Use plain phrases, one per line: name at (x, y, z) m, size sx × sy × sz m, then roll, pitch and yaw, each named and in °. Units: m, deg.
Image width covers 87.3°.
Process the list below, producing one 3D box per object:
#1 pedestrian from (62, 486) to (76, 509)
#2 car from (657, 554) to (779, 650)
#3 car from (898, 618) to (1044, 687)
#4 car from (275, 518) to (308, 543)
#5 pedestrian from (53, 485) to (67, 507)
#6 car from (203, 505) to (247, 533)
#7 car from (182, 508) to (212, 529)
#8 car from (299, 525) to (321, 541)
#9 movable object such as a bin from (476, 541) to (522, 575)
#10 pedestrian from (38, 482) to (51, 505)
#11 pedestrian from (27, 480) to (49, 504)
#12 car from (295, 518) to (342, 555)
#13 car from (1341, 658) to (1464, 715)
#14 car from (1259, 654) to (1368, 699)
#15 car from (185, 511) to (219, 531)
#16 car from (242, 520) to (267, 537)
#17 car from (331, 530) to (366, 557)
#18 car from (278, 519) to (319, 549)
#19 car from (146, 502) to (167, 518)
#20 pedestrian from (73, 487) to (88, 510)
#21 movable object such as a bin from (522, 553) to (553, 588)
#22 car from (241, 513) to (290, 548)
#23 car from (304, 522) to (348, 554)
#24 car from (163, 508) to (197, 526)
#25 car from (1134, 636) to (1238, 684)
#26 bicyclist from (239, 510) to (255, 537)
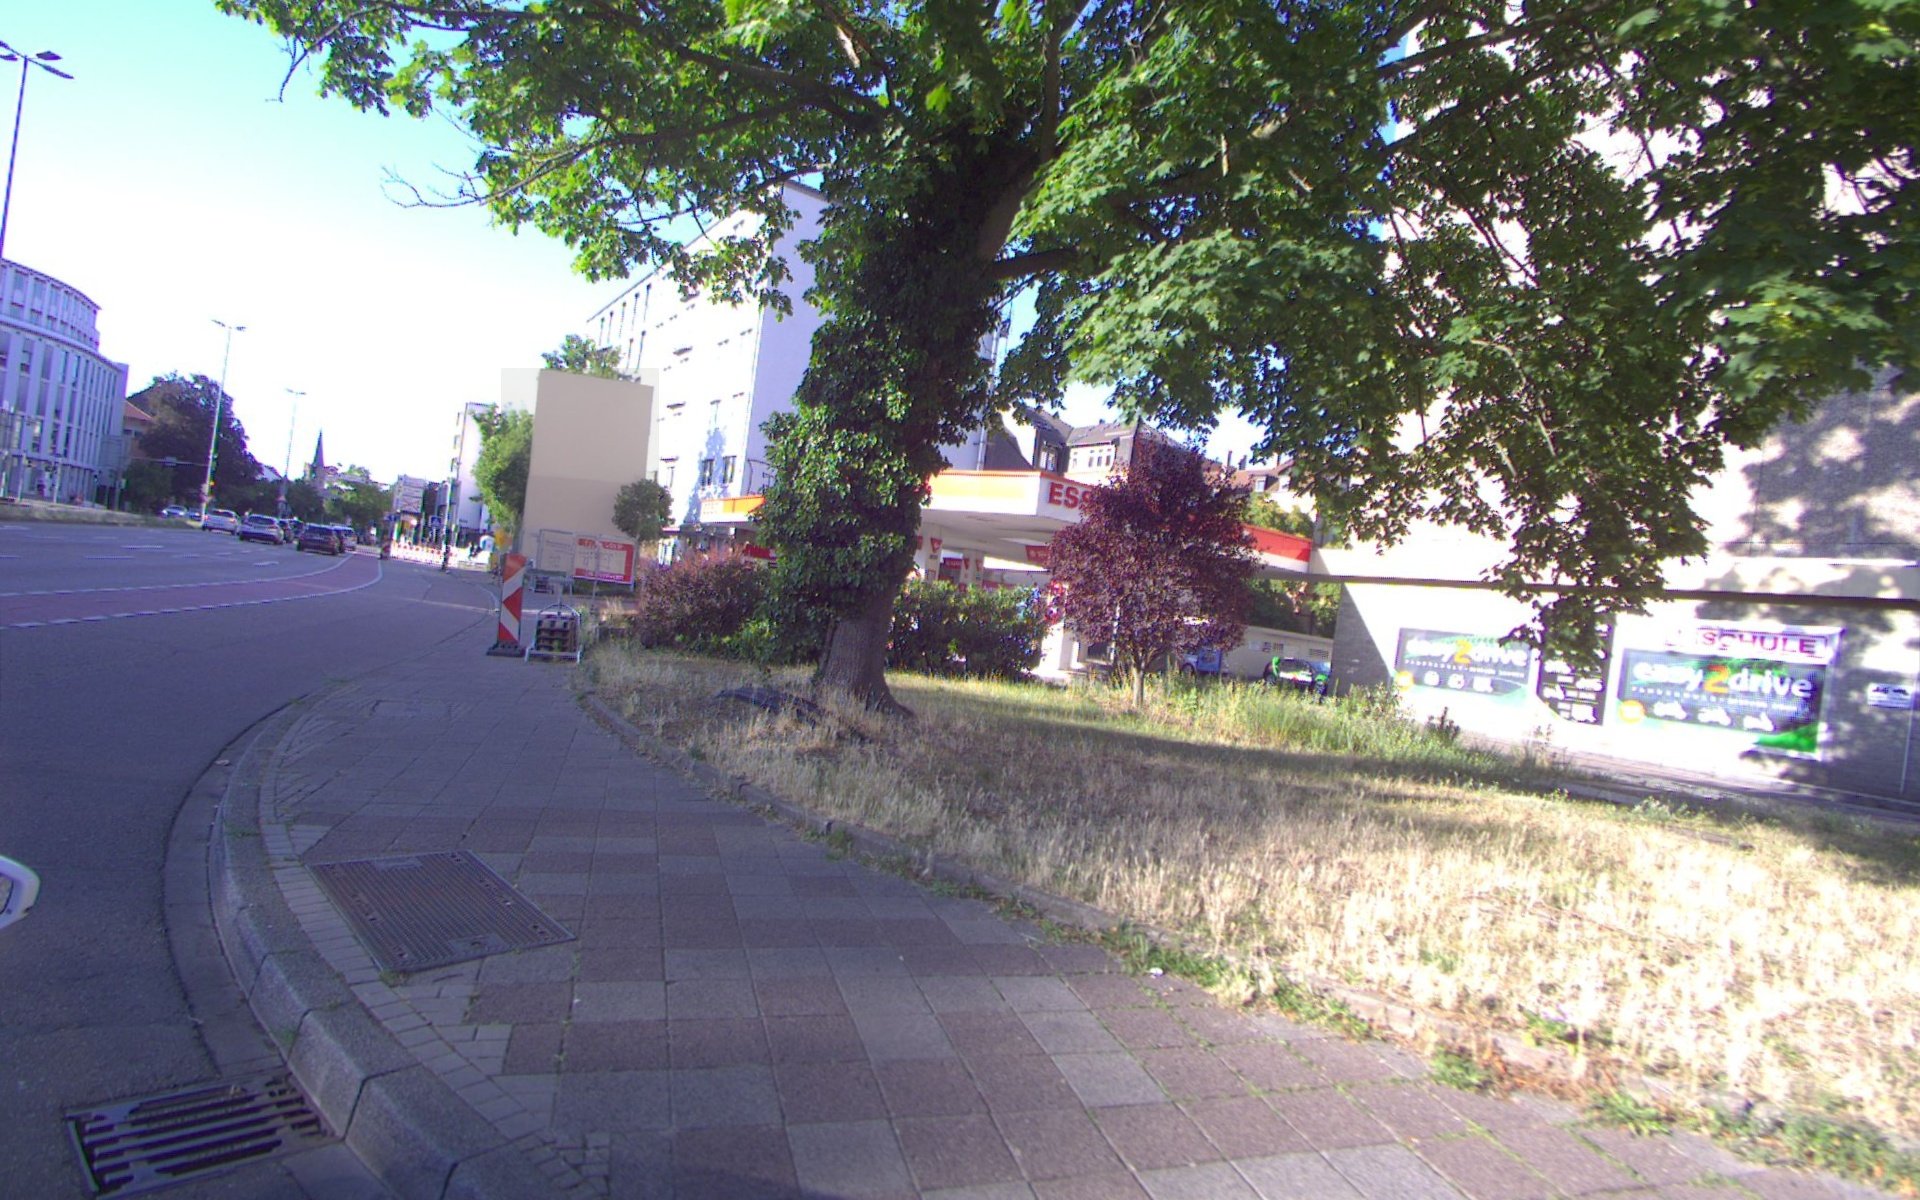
pedestrian at (-78.522, -9.034, 88.634) m, size 0.655 × 1.891 × 0.772 m, roll 7°, pitch 0°, yaw -33°
car at (-5.070, -0.017, 20.672) m, size 1.604 × 1.613 × 3.872 m, roll 8°, pitch -1°, yaw -24°
car at (0.292, 1.556, 30.295) m, size 3.942 × 1.371 × 1.992 m, roll 9°, pitch 1°, yaw 41°
car at (-49.865, -5.162, 75.108) m, size 1.669 × 1.522 × 3.694 m, roll 8°, pitch -1°, yaw -30°
pedestrian at (-79.438, -9.182, 88.765) m, size 0.755 × 1.864 × 0.809 m, roll 7°, pitch 0°, yaw -41°
car at (-47.329, -5.162, 64.840) m, size 1.673 × 1.474 × 3.968 m, roll 9°, pitch -1°, yaw -30°
car at (-82.534, -8.806, 108.892) m, size 1.825 × 1.837 × 3.974 m, roll 6°, pitch -2°, yaw -28°
car at (-68.303, -7.002, 105.691) m, size 1.577 × 1.444 × 3.793 m, roll 8°, pitch -1°, yaw -30°
movable object such as a bin at (-40.253, -3.662, 87.889) m, size 3.306 × 2.411 × 1.516 m, roll 8°, pitch 0°, yaw -32°
pedestrian at (-80.265, -9.315, 88.181) m, size 0.658 × 1.881 × 0.769 m, roll 7°, pitch 0°, yaw -43°
pedestrian at (-87.297, -10.192, 95.269) m, size 1.080 × 2.038 × 1.030 m, roll 7°, pitch 0°, yaw -20°
car at (-33.234, -3.292, 52.219) m, size 1.735 × 1.583 × 4.018 m, roll 8°, pitch -1°, yaw -30°
car at (15.481, 3.039, 35.171) m, size 3.962 × 1.466 × 1.982 m, roll 8°, pitch -1°, yaw -33°
car at (15.375, 3.313, 43.944) m, size 1.733 × 1.312 × 4.220 m, roll 8°, pitch -1°, yaw -31°
car at (-73.903, -7.649, 98.166) m, size 1.980 × 1.597 × 4.858 m, roll 8°, pitch -1°, yaw -31°
car at (-74.551, -7.559, 106.328) m, size 1.836 × 1.479 × 4.013 m, roll 8°, pitch -1°, yaw -33°
car at (-43.796, -4.047, 72.106) m, size 1.714 × 1.598 × 3.696 m, roll 8°, pitch -1°, yaw -28°
car at (-41.459, -4.113, 63.104) m, size 1.735 × 1.583 × 4.018 m, roll 8°, pitch -1°, yaw -30°
car at (-97.408, -10.905, 121.980) m, size 1.832 × 1.590 × 3.958 m, roll 8°, pitch -1°, yaw -38°
pedestrian at (-77.837, -8.987, 89.043) m, size 0.621 × 1.891 × 1.119 m, roll 7°, pitch 0°, yaw -28°
movable object such as a bin at (-20.299, -1.405, 48.320) m, size 1.085 × 1.525 × 1.245 m, roll 8°, pitch -3°, yaw -31°
car at (-38.171, -3.816, 55.390) m, size 1.735 × 1.583 × 4.018 m, roll 8°, pitch -1°, yaw -30°
car at (-36.898, -3.593, 58.619) m, size 1.741 × 1.507 × 3.698 m, roll 6°, pitch -2°, yaw -28°
car at (-78.046, -8.282, 100.751) m, size 1.978 × 1.430 × 4.409 m, roll 7°, pitch 0°, yaw -30°
car at (9.544, 2.523, 42.788) m, size 1.733 × 1.437 × 4.220 m, roll 8°, pitch -1°, yaw -31°
bicyclist at (-49.375, -5.274, 69.670) m, size 0.686 × 1.749 × 0.979 m, roll 7°, pitch 0°, yaw -34°
